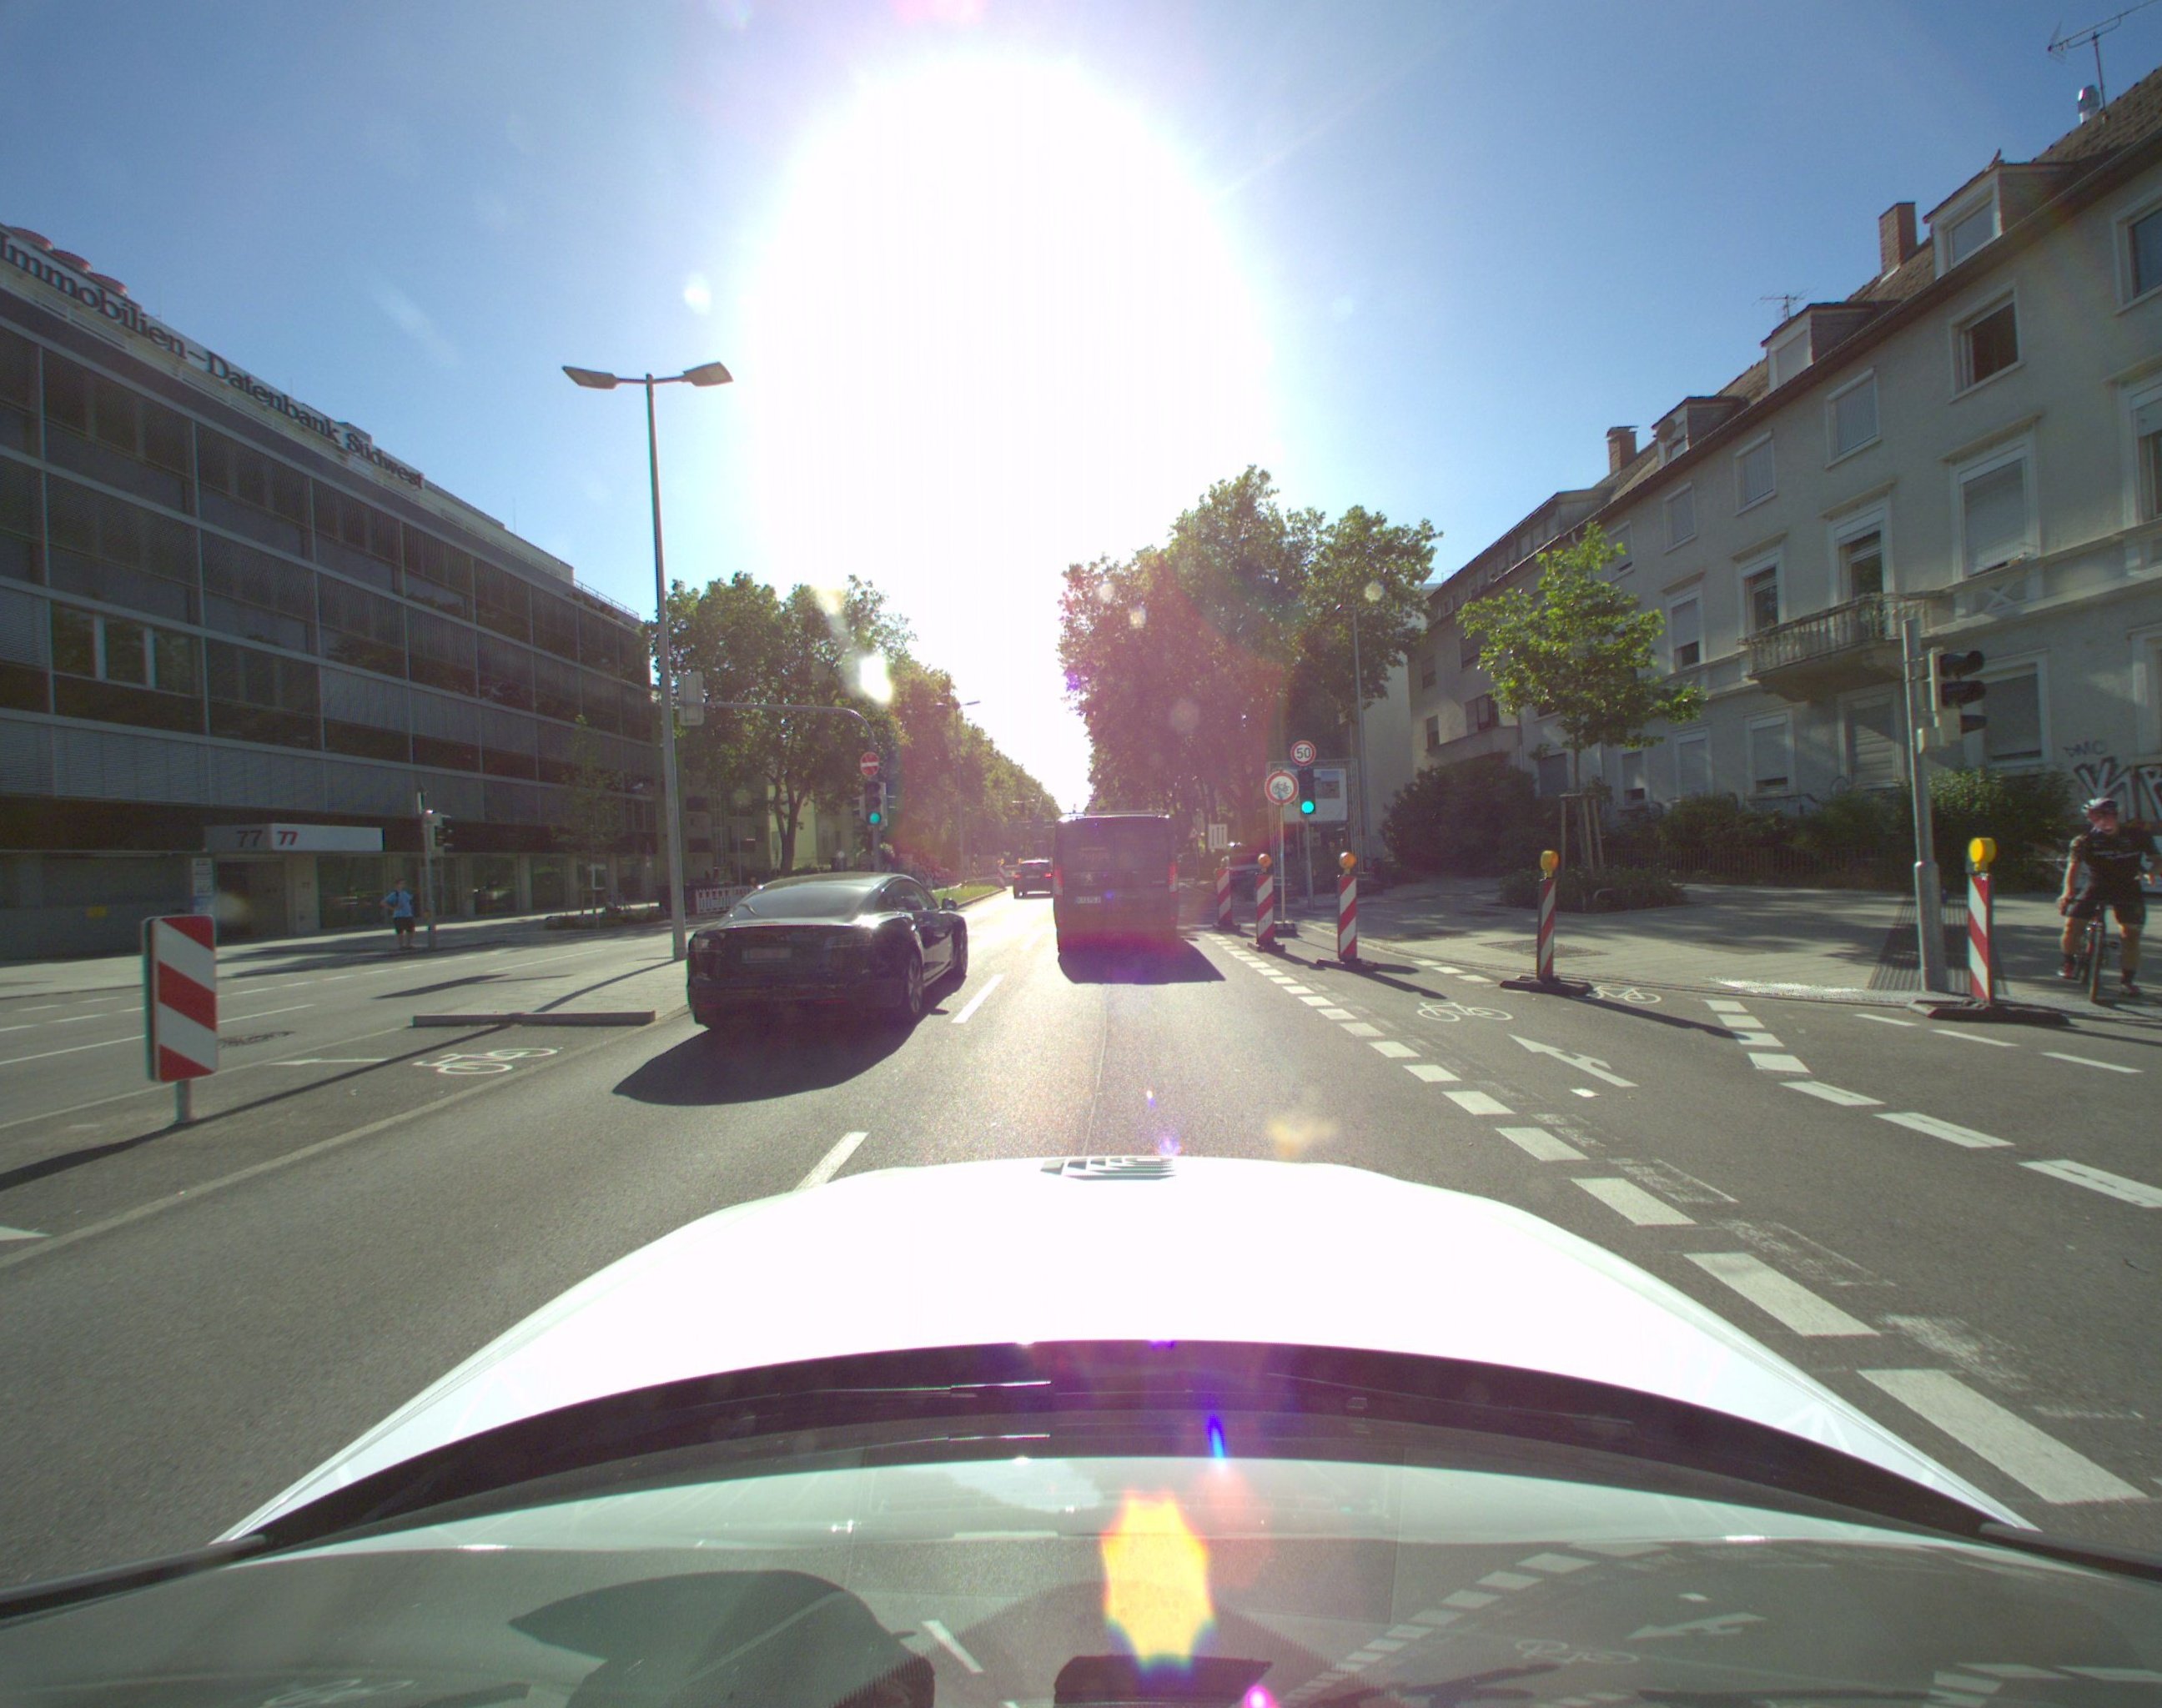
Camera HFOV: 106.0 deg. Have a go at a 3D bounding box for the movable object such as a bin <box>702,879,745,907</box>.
[{"bbox_3d":[-16.766,1.825,38.245,1.388,1.203,1.242,-2,-1,4],"label":"movable object such as a bin"}]

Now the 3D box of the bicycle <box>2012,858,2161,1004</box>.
[{"bbox_3d":[9.036,0.625,7.233,0.682,1.098,1.697,-3,0,39],"label":"bicycle"}]

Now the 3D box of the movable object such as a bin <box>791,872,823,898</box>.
[{"bbox_3d":[-16.427,1.833,48.758,1.638,1.423,1.252,-2,0,-25],"label":"movable object such as a bin"}]

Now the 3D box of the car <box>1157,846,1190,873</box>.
[{"bbox_3d":[7.237,0.413,64.348,2.019,1.946,5.273,-2,0,1],"label":"car"}]

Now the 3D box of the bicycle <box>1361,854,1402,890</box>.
[{"bbox_3d":[9.122,0.539,24.703,0.581,1.005,2.145,-3,0,35],"label":"bicycle"}]

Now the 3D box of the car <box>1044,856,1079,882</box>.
[{"bbox_3d":[-1.148,0.916,50.082,1.904,1.444,4.604,-3,0,1],"label":"car"}]

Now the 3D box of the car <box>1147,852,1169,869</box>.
[{"bbox_3d":[7.637,0.678,81.004,1.815,1.507,4.678,-4,-1,2],"label":"car"}]

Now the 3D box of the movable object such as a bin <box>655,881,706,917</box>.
[{"bbox_3d":[-16.788,1.859,34.170,1.109,1.388,1.857,-2,0,3],"label":"movable object such as a bin"}]

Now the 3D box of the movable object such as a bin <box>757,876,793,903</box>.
[{"bbox_3d":[-16.345,1.883,43.512,1.404,1.338,1.157,-2,0,3],"label":"movable object such as a bin"}]

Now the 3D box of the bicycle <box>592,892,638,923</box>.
[{"bbox_3d":[-18.071,2.066,31.640,0.624,1.037,1.880,-2,0,2],"label":"bicycle"}]

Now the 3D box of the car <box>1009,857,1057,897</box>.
[{"bbox_3d":[-1.879,0.877,33.045,1.741,1.407,3.999,-1,1,-1],"label":"car"}]

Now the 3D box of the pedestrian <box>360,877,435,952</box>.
[{"bbox_3d":[-16.573,1.450,19.770,0.860,1.710,1.014,-3,0,8],"label":"pedestrian"}]

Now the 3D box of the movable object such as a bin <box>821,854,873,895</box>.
[{"bbox_3d":[-16.309,1.391,57.057,2.141,2.706,5.350,-2,0,-2],"label":"movable object such as a bin"}]

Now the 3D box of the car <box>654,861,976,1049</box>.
[{"bbox_3d":[-2.474,0.843,8.967,1.918,1.412,4.626,-2,0,1],"label":"car"}]

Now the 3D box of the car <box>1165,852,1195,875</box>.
[{"bbox_3d":[6.995,0.680,57.657,1.651,1.540,4.129,-2,0,1],"label":"car"}]

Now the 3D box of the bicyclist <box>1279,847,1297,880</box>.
[{"bbox_3d":[11.823,0.536,46.448,0.721,1.820,1.071,-2,0,2],"label":"bicyclist"}]

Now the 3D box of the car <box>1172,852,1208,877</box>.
[{"bbox_3d":[6.986,0.670,52.666,1.757,1.508,4.251,-2,0,1],"label":"car"}]

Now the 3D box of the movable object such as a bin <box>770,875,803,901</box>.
[{"bbox_3d":[-16.133,1.868,44.597,1.404,1.338,0.936,-2,0,3],"label":"movable object such as a bin"}]

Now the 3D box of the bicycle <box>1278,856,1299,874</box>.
[{"bbox_3d":[11.801,0.612,46.326,0.779,0.966,1.824,-2,0,3],"label":"bicycle"}]

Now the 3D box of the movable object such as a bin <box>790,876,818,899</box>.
[{"bbox_3d":[-15.945,1.917,46.932,0.976,1.271,1.541,-2,0,1],"label":"movable object such as a bin"}]

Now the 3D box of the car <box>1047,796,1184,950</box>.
[{"bbox_3d":[0.551,0.290,14.768,2.088,2.355,3.933,-2,0,0],"label":"car"}]

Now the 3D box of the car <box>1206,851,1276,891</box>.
[{"bbox_3d":[6.463,0.662,33.439,1.846,1.479,4.940,-2,0,0],"label":"car"}]

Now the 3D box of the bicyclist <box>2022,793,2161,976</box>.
[{"bbox_3d":[8.949,0.244,7.150,0.716,1.499,0.877,-3,0,40],"label":"bicyclist"}]

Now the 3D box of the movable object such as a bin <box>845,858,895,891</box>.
[{"bbox_3d":[-16.291,1.535,63.238,1.985,2.278,5.604,-3,-1,3],"label":"movable object such as a bin"}]
